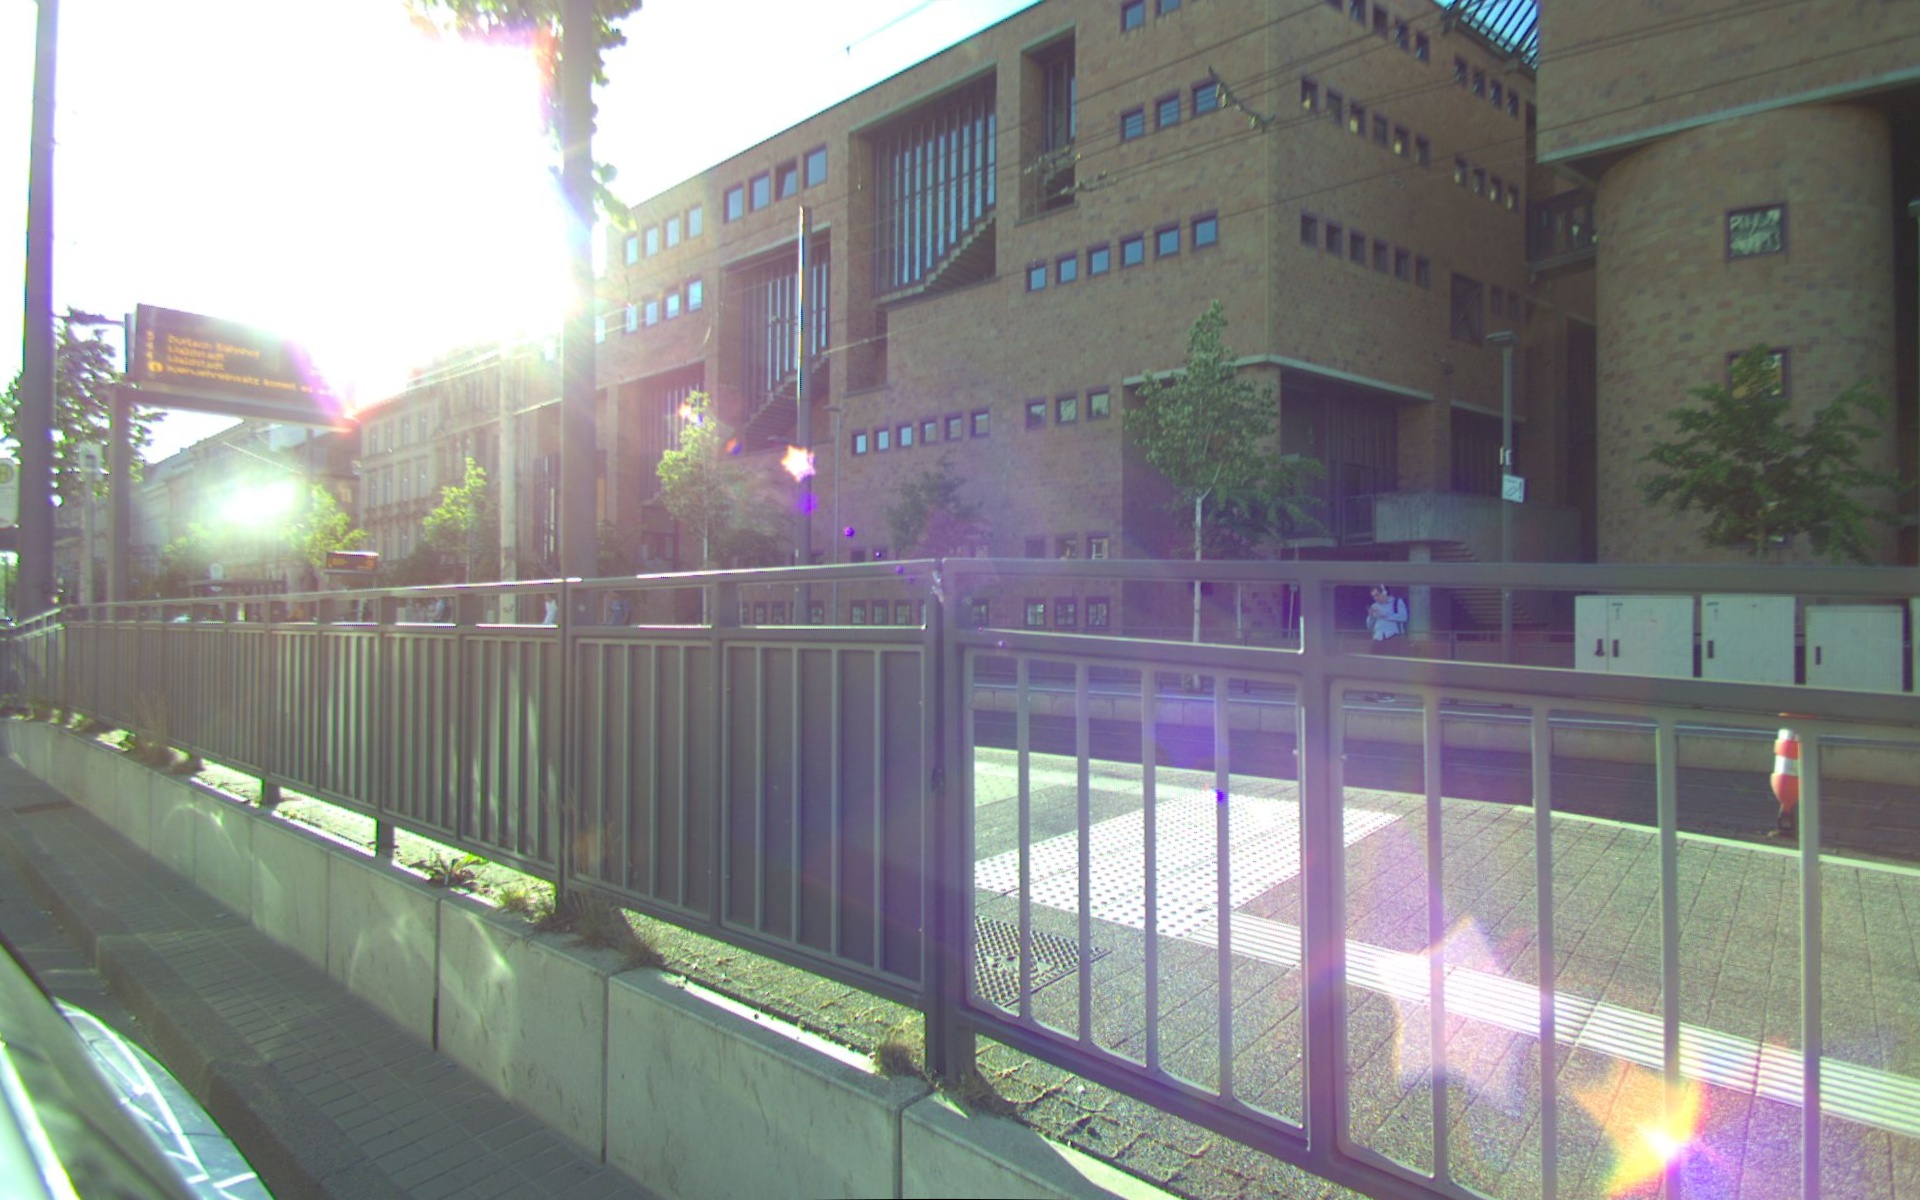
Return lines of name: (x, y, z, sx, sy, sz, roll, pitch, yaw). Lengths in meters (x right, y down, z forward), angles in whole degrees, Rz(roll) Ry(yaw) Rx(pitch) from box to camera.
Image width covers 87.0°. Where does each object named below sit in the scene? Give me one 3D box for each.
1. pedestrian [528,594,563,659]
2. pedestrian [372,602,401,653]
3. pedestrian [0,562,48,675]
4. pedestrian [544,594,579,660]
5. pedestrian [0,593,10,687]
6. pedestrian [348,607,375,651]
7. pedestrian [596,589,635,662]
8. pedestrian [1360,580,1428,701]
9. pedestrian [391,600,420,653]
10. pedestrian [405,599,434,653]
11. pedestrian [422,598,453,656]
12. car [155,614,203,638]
pedestrian: (-11.464, 0.733, 27.975, 0.586, 1.755, 0.684, -2, -2, 38)
pedestrian: (-19.835, 0.943, 34.993, 0.586, 1.755, 0.684, -2, -2, 38)
pedestrian: (-17.408, 0.342, 18.648, 0.880, 2.029, 0.774, -2, -2, 41)
pedestrian: (-10.792, 0.730, 27.429, 0.586, 1.755, 0.684, -2, -2, 38)
pedestrian: (-21.247, 0.863, 21.973, 0.879, 2.029, 0.774, -2, -2, 40)
pedestrian: (-21.760, 1.048, 36.792, 0.586, 1.587, 0.684, -2, -2, 38)
pedestrian: (-8.364, 0.623, 24.603, 0.586, 1.755, 0.684, -2, -2, 38)
pedestrian: (5.751, 0.527, 13.394, 0.653, 1.546, 0.693, -1, -2, 38)
pedestrian: (-18.756, 0.900, 34.227, 0.586, 1.755, 0.684, -2, -2, 38)
pedestrian: (-17.812, 0.844, 33.354, 0.586, 1.755, 0.684, -2, -2, 38)
pedestrian: (-16.108, 0.822, 31.202, 0.586, 1.755, 0.684, -2, -2, 38)
car: (-48.491, 1.619, 62.812, 3.702, 1.497, 1.681, -2, -2, 41)
